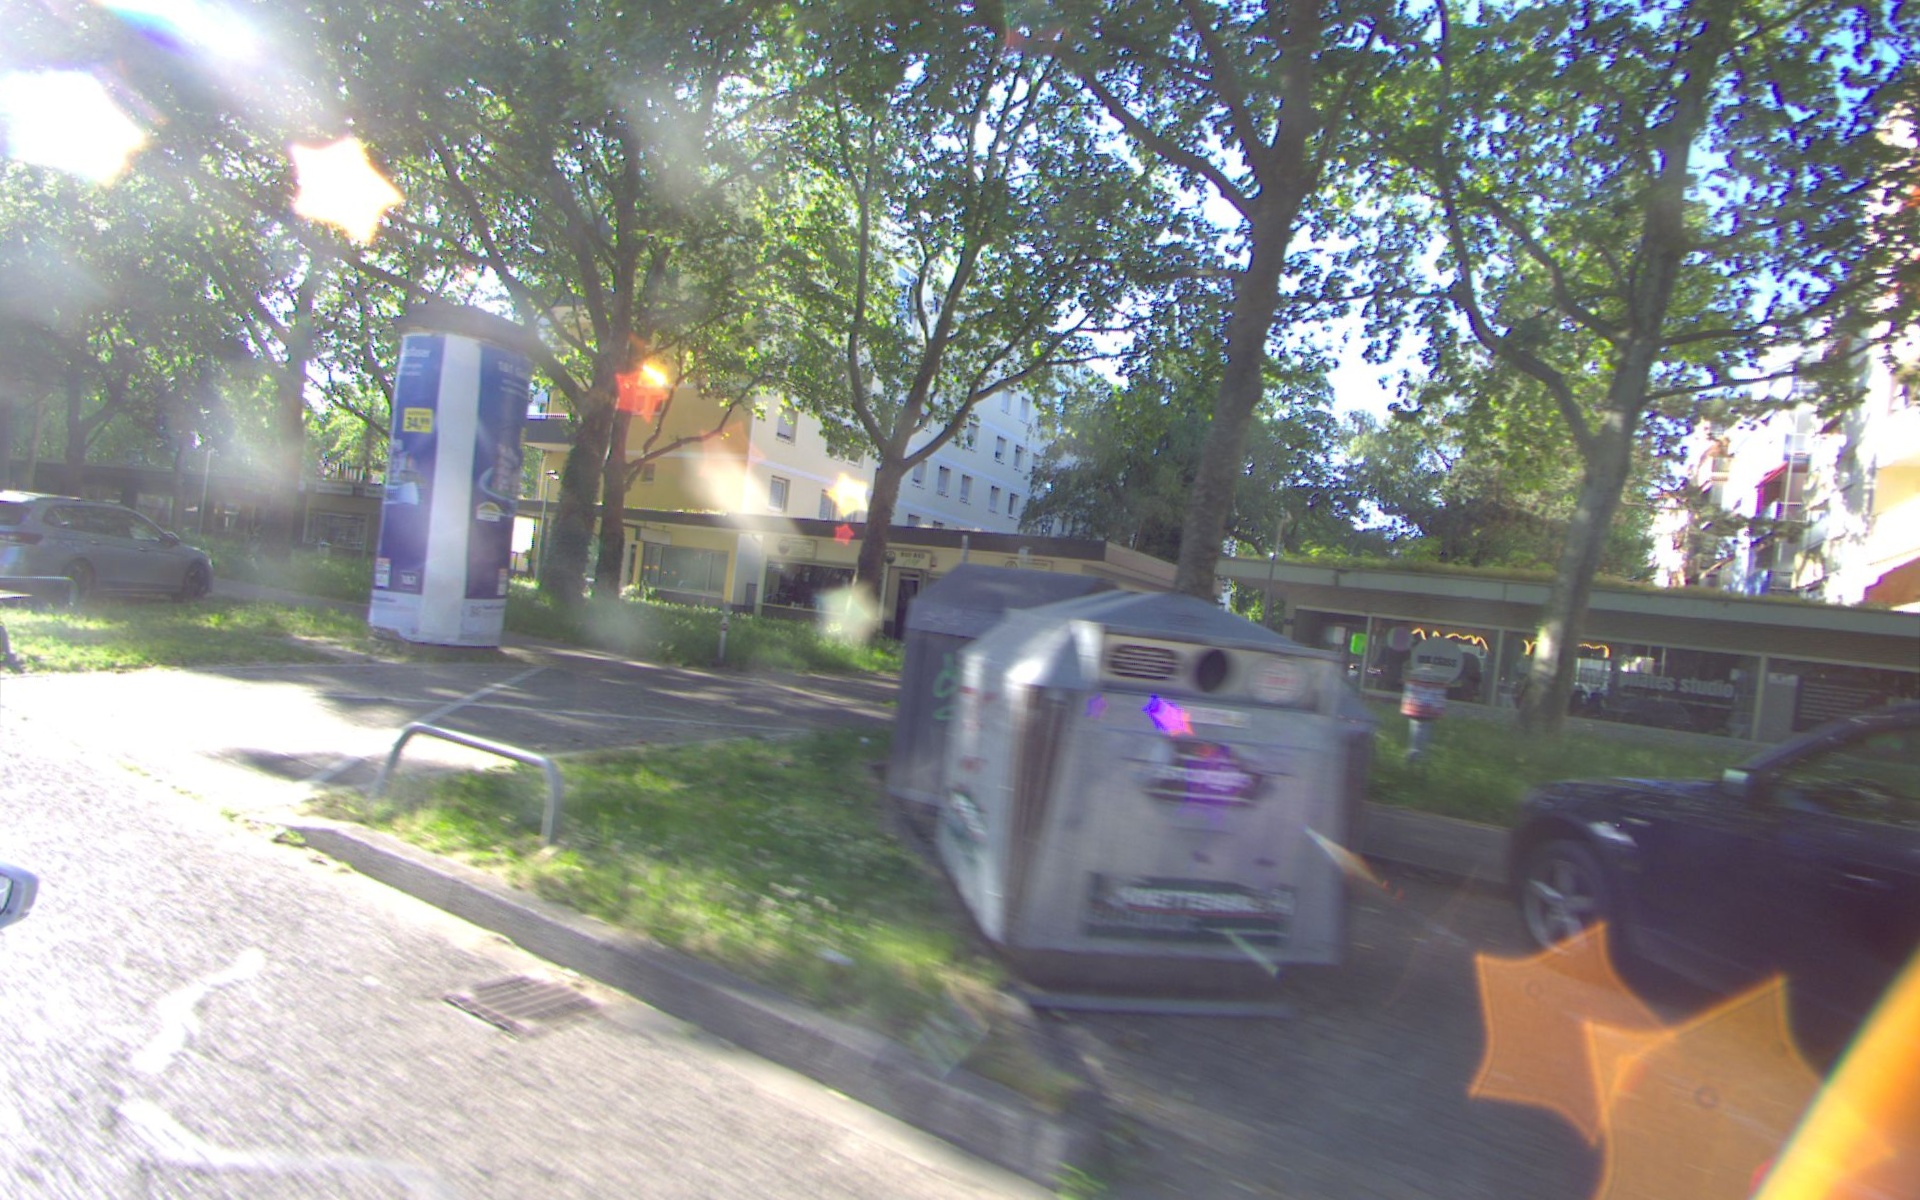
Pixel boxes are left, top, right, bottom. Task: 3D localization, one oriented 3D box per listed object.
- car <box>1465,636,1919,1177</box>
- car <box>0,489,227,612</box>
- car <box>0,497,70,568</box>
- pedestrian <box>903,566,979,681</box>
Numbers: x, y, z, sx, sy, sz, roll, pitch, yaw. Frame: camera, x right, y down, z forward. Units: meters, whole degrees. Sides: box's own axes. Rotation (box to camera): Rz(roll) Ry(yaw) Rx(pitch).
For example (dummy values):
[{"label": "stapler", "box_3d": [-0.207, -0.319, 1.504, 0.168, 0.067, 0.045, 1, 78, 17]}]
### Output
[{"label": "car", "box_3d": [4.072, 1.175, 3.774, 1.607, 1.737, 4.316, 7, -1, -7]}, {"label": "car", "box_3d": [-12.722, -0.731, 14.368, 1.826, 1.462, 4.483, 6, 0, -11]}, {"label": "car", "box_3d": [-18.823, -1.347, 18.492, 1.664, 1.314, 4.319, 6, 0, -11]}, {"label": "pedestrian", "box_3d": [-0.329, 0.431, 18.002, 0.855, 1.937, 0.875, 7, 0, 23]}]
